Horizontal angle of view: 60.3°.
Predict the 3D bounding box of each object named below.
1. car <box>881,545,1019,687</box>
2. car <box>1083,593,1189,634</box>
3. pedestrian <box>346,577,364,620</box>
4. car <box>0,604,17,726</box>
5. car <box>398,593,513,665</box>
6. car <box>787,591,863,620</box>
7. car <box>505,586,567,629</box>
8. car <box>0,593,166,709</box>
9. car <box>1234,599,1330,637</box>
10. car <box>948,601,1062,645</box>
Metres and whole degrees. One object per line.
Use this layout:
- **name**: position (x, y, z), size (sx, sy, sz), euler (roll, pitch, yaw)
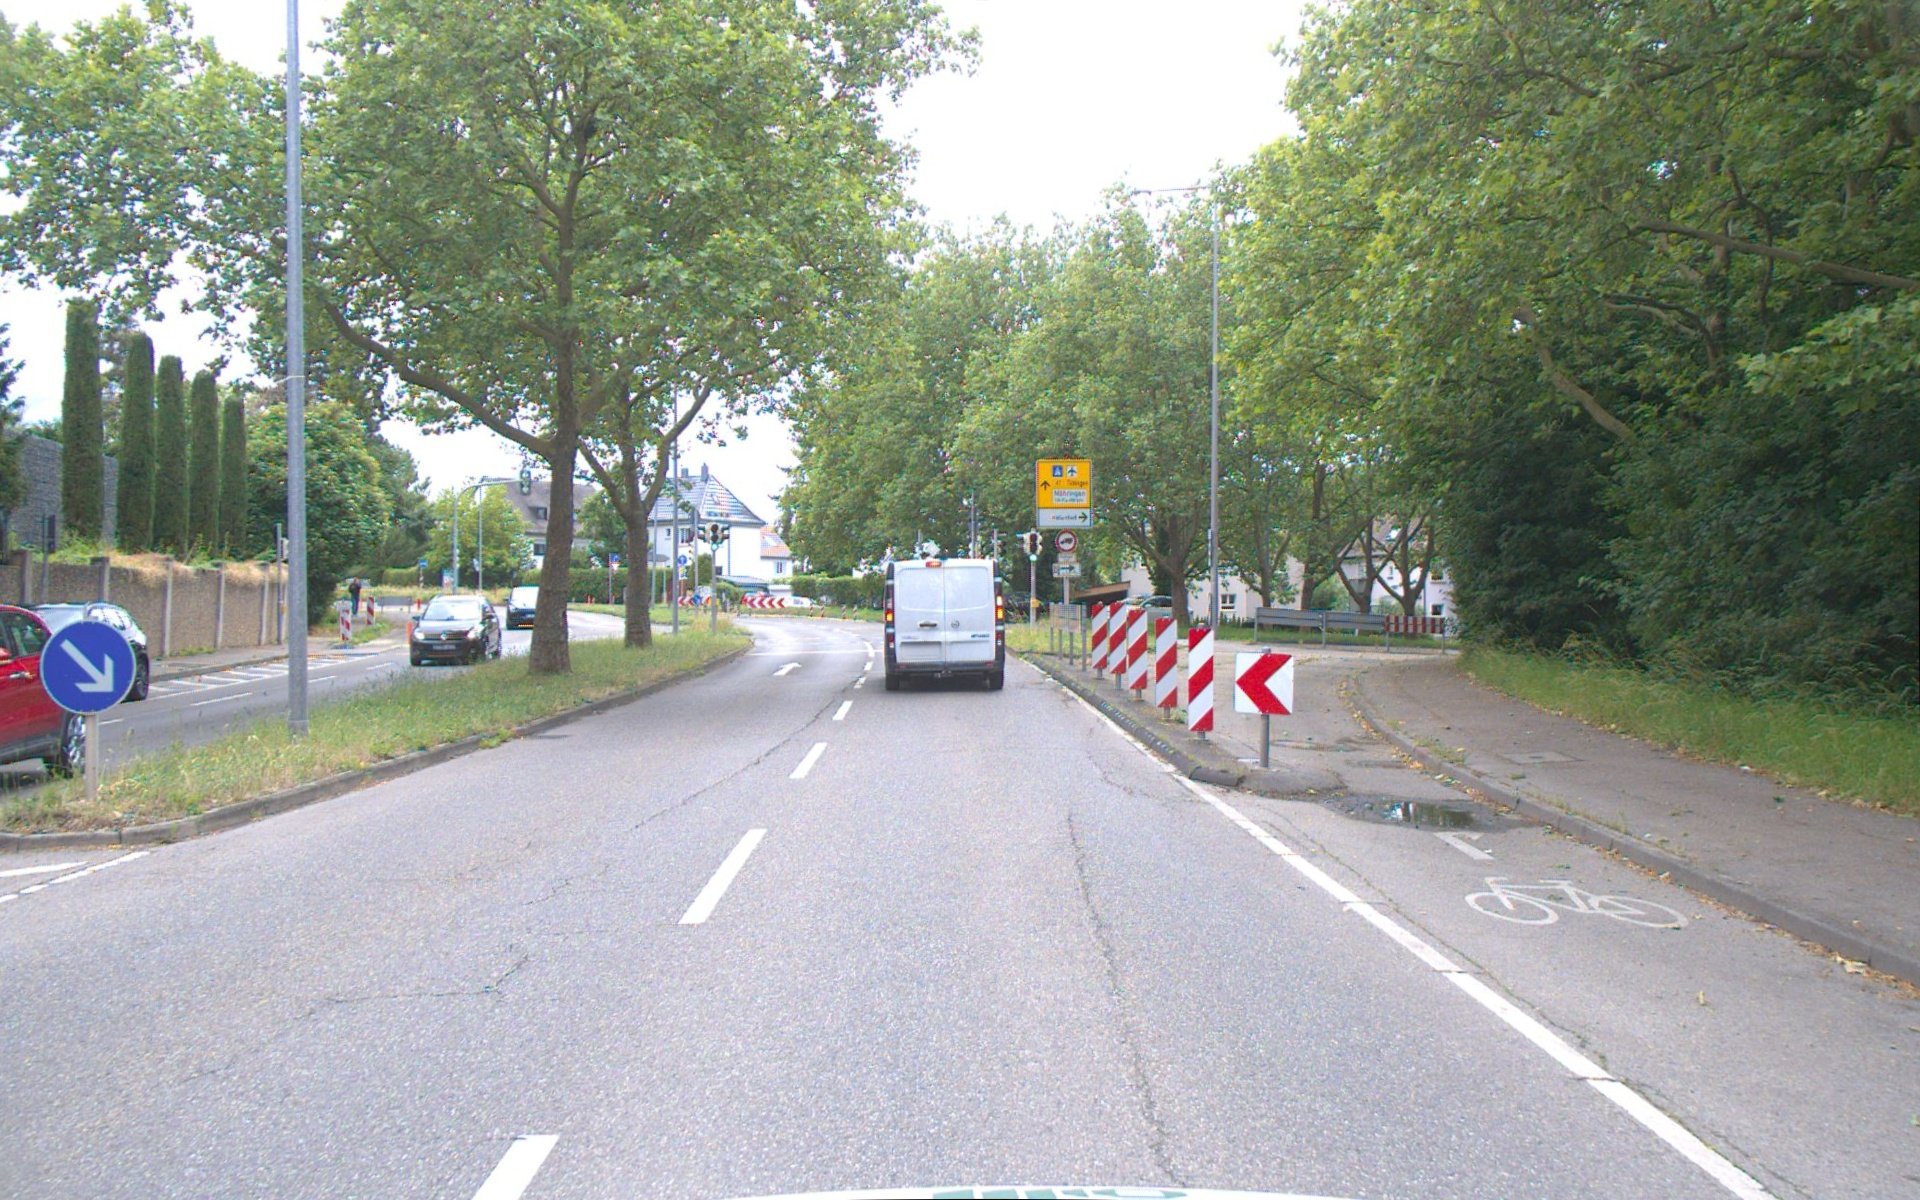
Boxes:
- **car**: position (-0.260, 0.244, 26.720), size (1.966, 2.073, 5.006), euler (0, 0, -3)
- **car**: position (7.972, 0.615, 74.835), size (4.693, 1.800, 1.974), euler (1, 0, -37)
- **pedestrian**: position (-29.074, -0.081, 79.508), size (0.728, 2.048, 0.630), euler (2, 1, -17)
- **car**: position (-13.383, 0.879, 20.310), size (1.641, 1.620, 4.089), euler (-2, 0, -7)
- **car**: position (-12.048, 0.693, 39.757), size (1.960, 1.615, 3.991), euler (-1, -1, -7)
- **car**: position (-8.704, 0.340, 106.719), size (4.644, 1.800, 1.995), euler (0, 0, 32)
- **car**: position (-16.928, 0.322, 65.871), size (1.919, 1.653, 4.402), euler (0, -1, -21)
- **car**: position (-14.023, 0.752, 25.667), size (1.853, 1.653, 4.421), euler (0, -1, -9)
- **car**: position (15.709, 0.859, 80.537), size (4.693, 1.800, 1.974), euler (1, 0, -37)
- **car**: position (1.954, 0.974, 70.631), size (4.693, 1.800, 1.974), euler (1, 0, -37)
